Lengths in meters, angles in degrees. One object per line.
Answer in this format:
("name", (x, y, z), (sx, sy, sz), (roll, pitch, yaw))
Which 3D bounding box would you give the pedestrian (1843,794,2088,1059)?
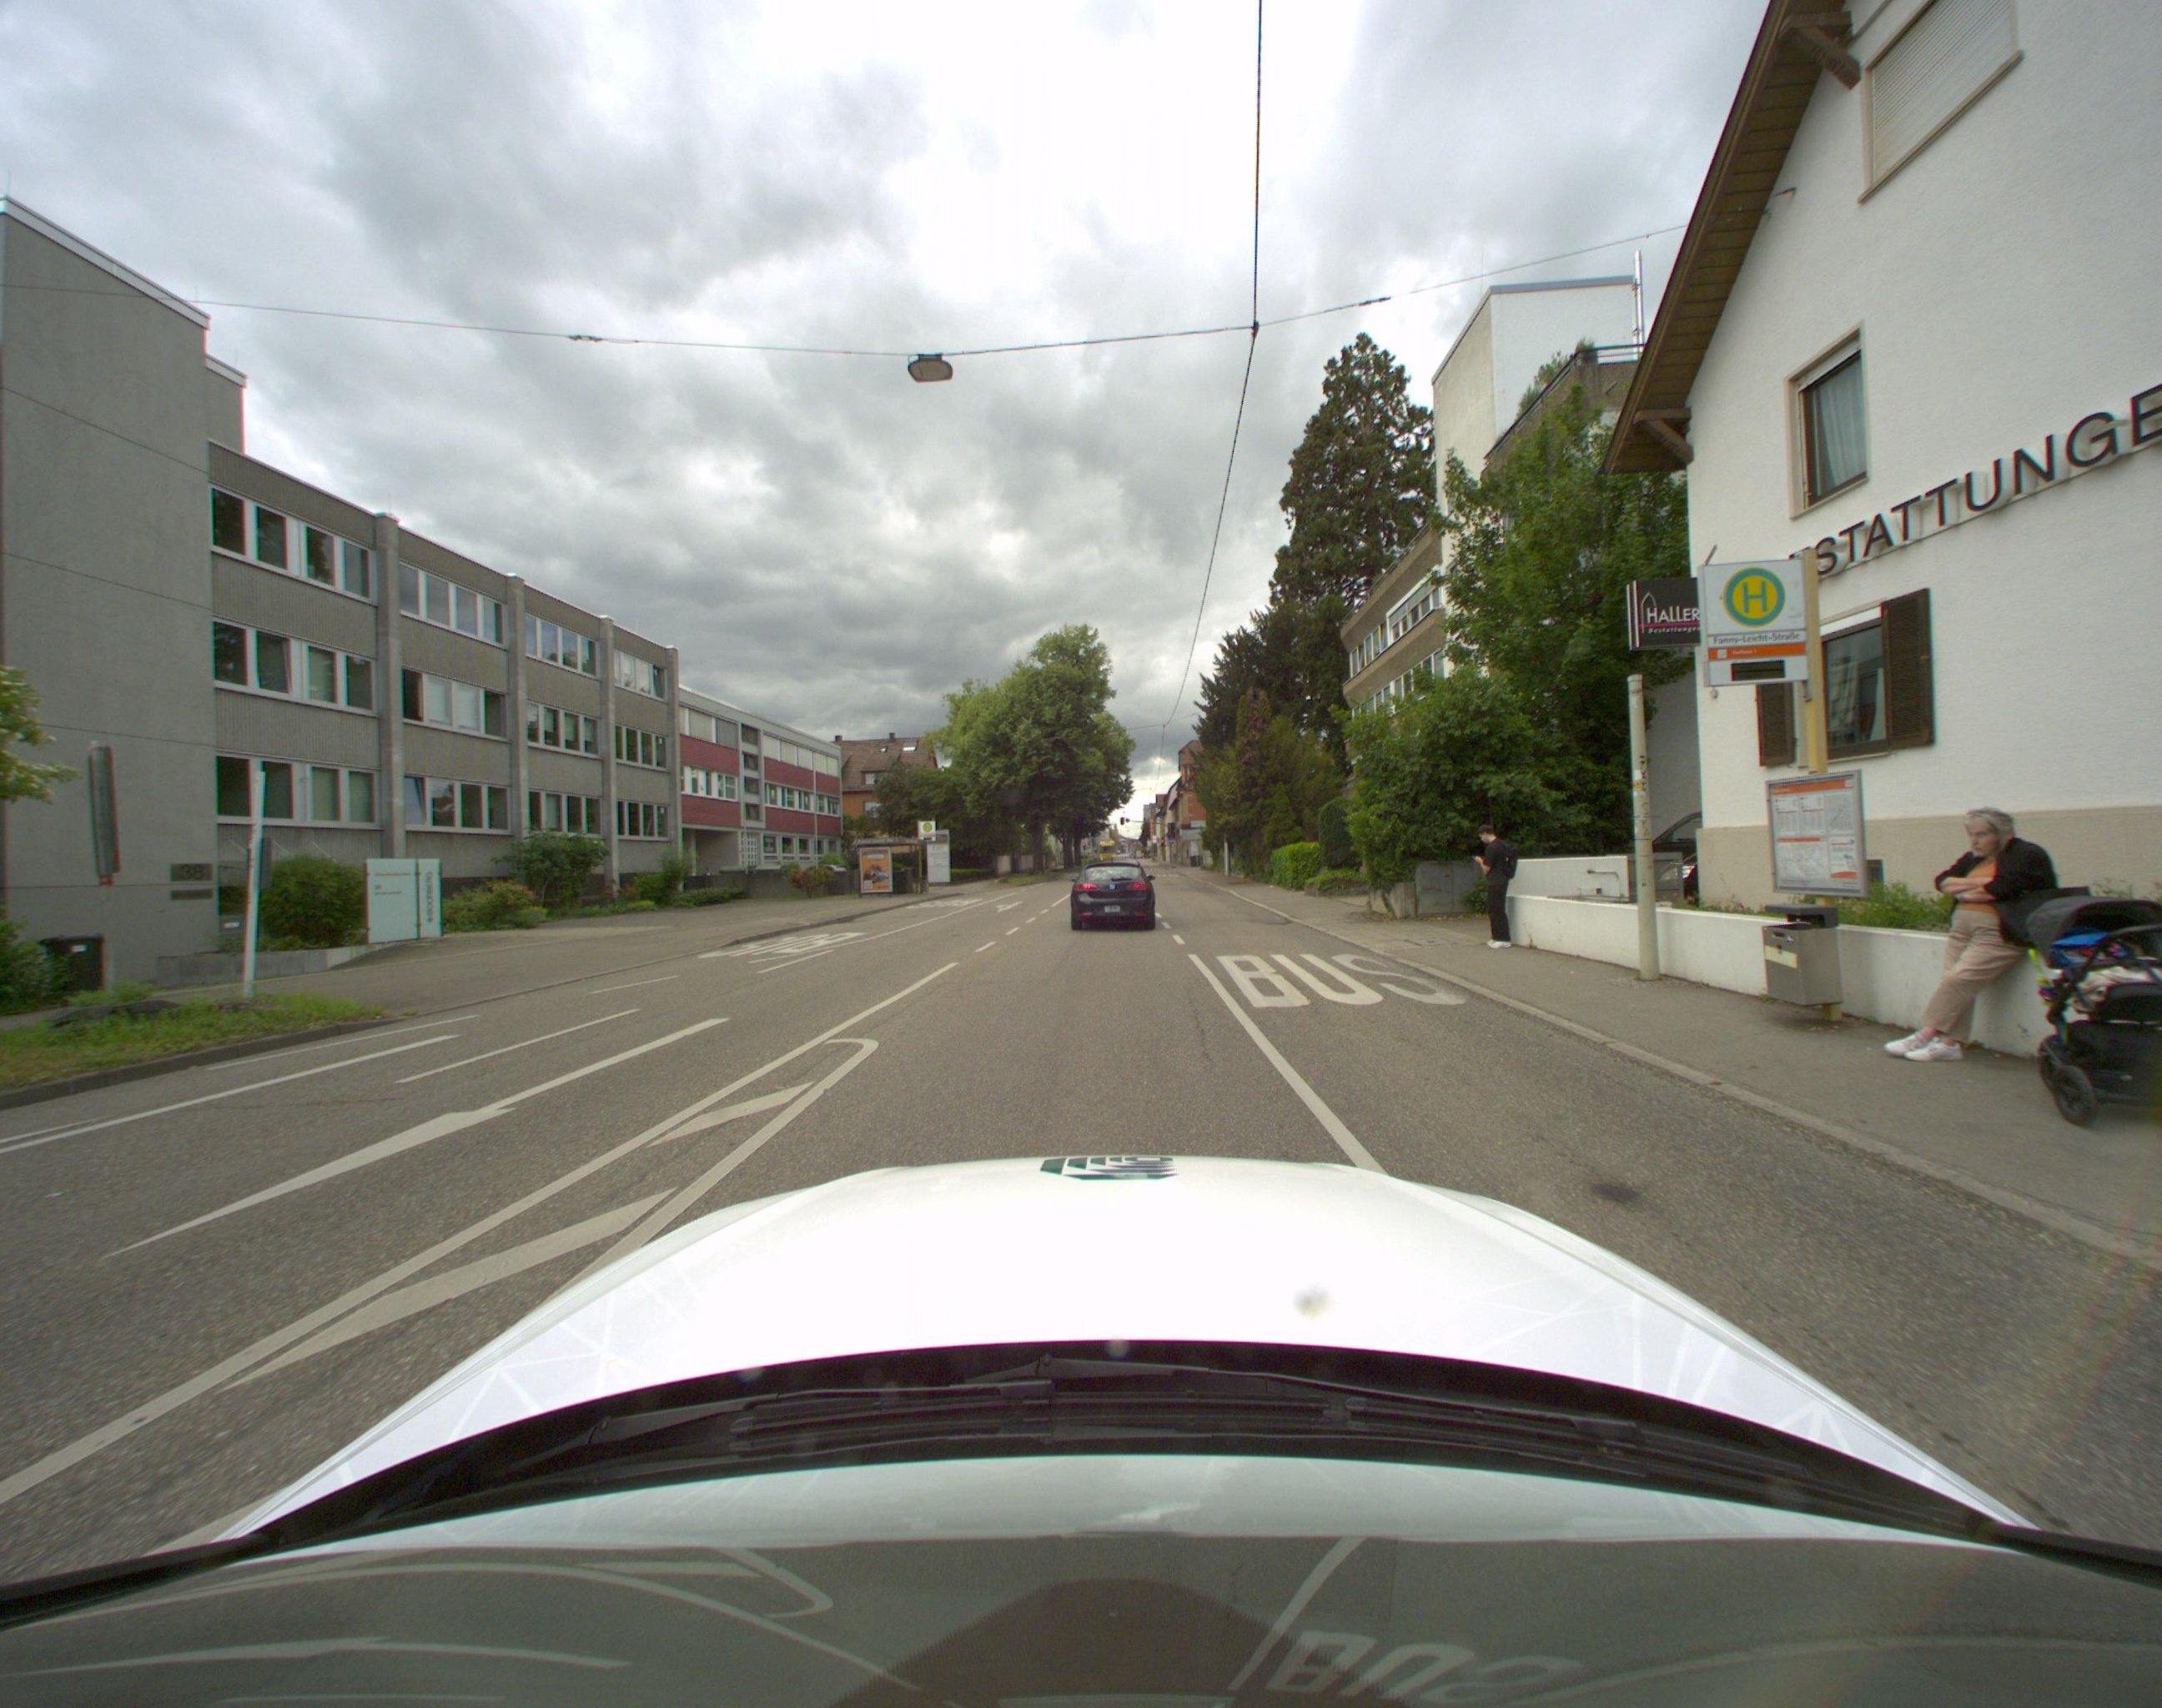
("pedestrian", (5.485, 0.422, 5.088), (0.778, 1.500, 0.604), (-4, 0, -3))

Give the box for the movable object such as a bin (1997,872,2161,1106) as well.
("movable object such as a bin", (5.151, 0.654, 4.131), (0.436, 1.058, 0.572), (-6, 0, 29))

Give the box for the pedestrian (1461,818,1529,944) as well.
("pedestrian", (5.833, 0.372, 11.499), (0.583, 1.711, 0.530), (-4, -1, 2))

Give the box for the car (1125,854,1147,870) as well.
("car", (5.610, 0.804, 82.862), (1.935, 1.481, 4.253), (-3, 0, 1))

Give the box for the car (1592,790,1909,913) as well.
("car", (11.618, -0.037, 14.348), (3.975, 1.788, 1.888), (-3, -1, -1))

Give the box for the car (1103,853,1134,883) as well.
("car", (2.454, 0.874, 52.580), (1.811, 1.699, 4.258), (-3, 0, 4))

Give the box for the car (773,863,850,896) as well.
("car", (-16.327, 1.543, 49.485), (3.974, 1.790, 1.855), (-3, 0, 0))

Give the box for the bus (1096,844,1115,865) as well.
("bus", (3.957, 0.137, 130.256), (2.857, 3.136, 6.401), (-3, 0, 2))

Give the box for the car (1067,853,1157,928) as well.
("car", (0.603, 0.705, 17.728), (1.754, 1.449, 3.713), (0, 0, 0))

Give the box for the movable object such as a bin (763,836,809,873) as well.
("movable object such as a bin", (-17.051, 0.047, 47.074), (1.986, 2.013, 1.543), (-3, 0, 2))
